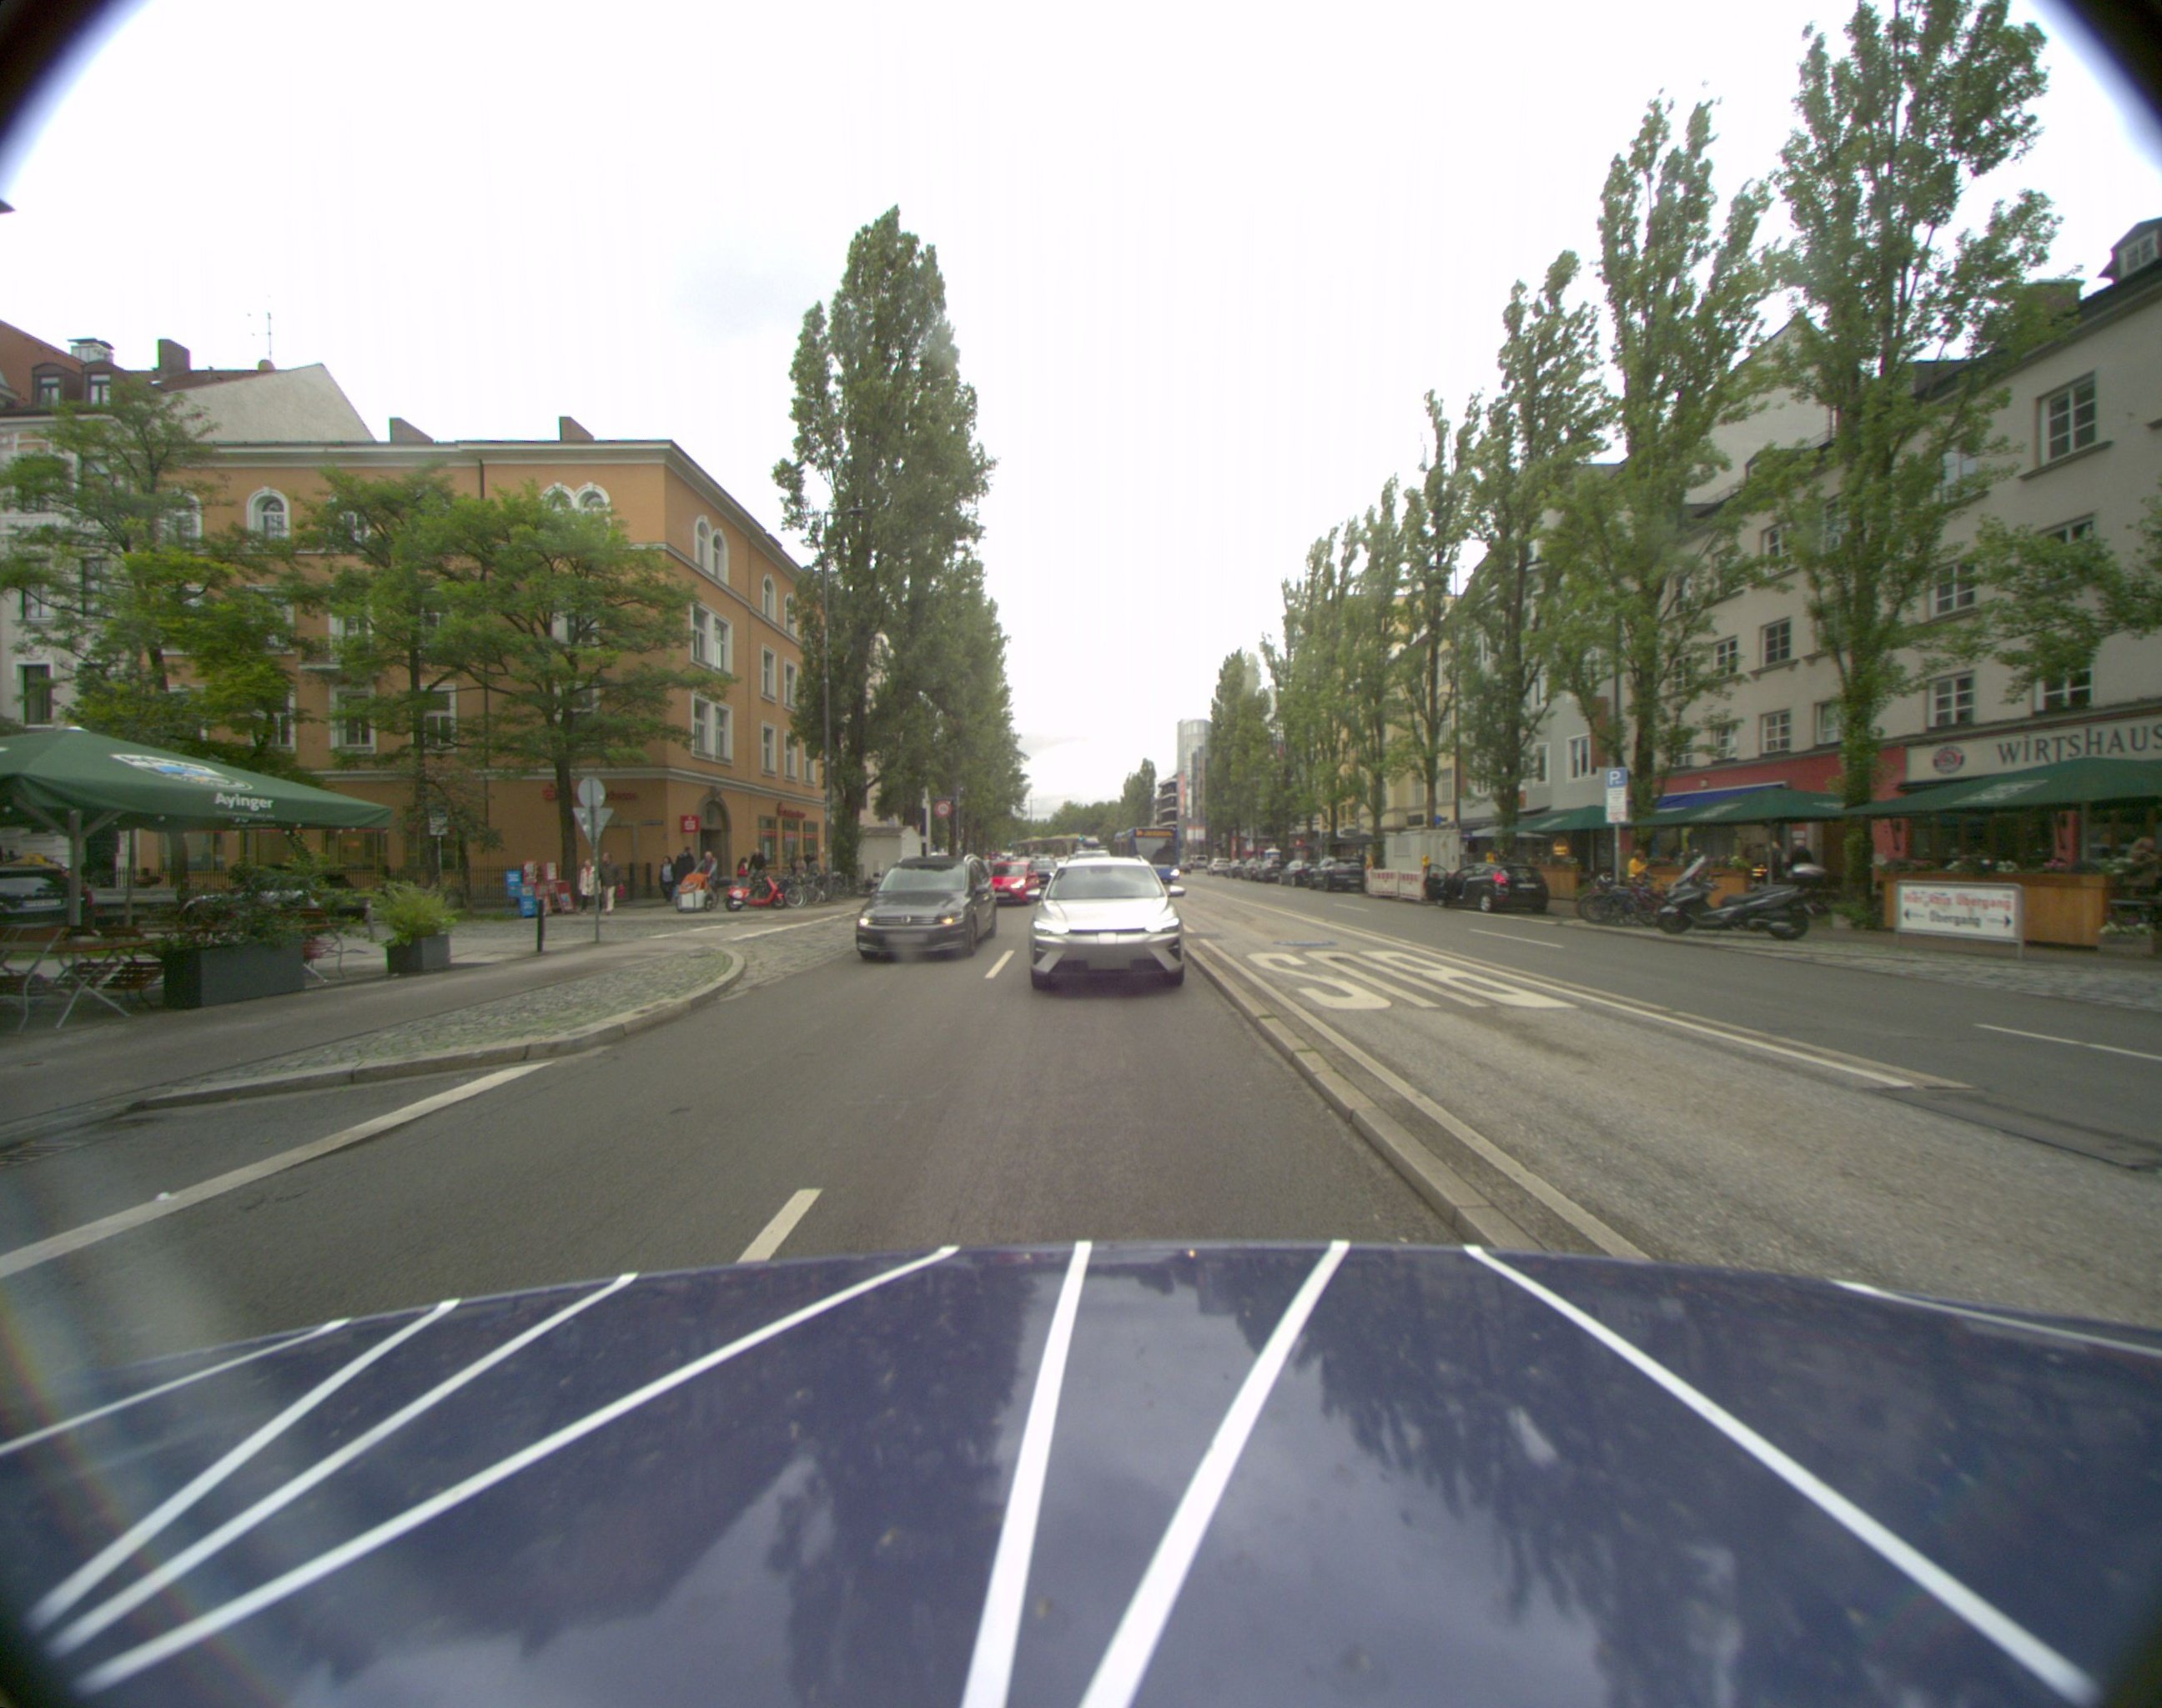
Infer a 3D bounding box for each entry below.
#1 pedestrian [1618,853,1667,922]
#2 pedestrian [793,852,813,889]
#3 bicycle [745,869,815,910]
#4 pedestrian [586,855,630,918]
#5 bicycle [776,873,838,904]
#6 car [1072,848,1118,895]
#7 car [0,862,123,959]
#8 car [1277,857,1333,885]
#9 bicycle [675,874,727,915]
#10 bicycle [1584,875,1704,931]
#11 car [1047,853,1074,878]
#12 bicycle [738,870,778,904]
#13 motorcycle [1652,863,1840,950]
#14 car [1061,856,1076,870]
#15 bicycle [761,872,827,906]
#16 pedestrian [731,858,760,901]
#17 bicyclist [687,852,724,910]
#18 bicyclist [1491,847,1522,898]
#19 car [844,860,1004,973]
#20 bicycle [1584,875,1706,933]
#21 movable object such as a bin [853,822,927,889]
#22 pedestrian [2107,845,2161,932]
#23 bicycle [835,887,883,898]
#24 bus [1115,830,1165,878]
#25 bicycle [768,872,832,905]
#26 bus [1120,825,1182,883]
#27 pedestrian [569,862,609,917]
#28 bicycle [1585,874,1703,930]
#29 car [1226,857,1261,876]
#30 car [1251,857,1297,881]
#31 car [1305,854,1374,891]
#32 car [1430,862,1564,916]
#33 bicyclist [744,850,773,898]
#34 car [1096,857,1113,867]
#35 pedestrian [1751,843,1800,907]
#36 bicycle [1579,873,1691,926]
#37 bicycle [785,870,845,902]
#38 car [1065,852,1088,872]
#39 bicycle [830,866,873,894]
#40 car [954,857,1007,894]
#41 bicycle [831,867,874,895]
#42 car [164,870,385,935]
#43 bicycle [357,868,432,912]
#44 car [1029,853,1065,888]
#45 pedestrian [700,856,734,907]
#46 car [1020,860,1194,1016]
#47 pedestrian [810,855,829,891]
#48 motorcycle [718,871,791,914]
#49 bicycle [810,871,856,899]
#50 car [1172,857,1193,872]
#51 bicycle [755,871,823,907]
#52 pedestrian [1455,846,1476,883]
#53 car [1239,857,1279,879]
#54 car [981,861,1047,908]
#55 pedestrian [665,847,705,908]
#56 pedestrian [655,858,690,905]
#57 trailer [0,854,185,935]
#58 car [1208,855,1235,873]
[{"bbox_3d":[14.179,0.833,19.206,0.699,1.716,0.732,0,1,-2],"label":"pedestrian"},{"bbox_3d":[-13.018,0.751,35.571,0.634,1.684,0.574,-2,1,-3],"label":"pedestrian"},{"bbox_3d":[-9.404,1.095,23.738,1.945,1.232,0.561,-1,1,1],"label":"bicycle"},{"bbox_3d":[-13.601,0.917,21.873,0.699,1.756,0.732,-2,1,4],"label":"pedestrian"},{"bbox_3d":[-9.503,1.190,26.380,1.945,1.004,0.561,-1,1,1],"label":"bicycle"},{"bbox_3d":[0.577,0.707,33.725,1.839,1.831,5.129,-2,1,0],"label":"car"},{"bbox_3d":[-21.469,1.111,14.372,4.425,1.692,1.972,-2,1,5],"label":"car"},{"bbox_3d":[12.243,0.900,41.827,1.802,1.432,4.574,0,0,1],"label":"car"},{"bbox_3d":[-11.423,1.198,22.911,0.887,1.113,2.100,-1,0,-12],"label":"bicycle"},{"bbox_3d":[11.734,1.005,15.898,1.976,1.119,0.283,-2,1,37],"label":"bicycle"},{"bbox_3d":[-1.512,0.817,55.691,1.707,1.683,4.001,-2,0,-5],"label":"car"},{"bbox_3d":[-11.419,1.142,26.899,0.737,1.113,2.100,-1,0,-7],"label":"bicycle"},{"bbox_3d":[11.917,0.871,13.737,0.747,1.406,2.448,0,0,-33],"label":"motorcycle"},{"bbox_3d":[-1.618,1.166,99.895,1.789,1.604,4.498,-2,0,0],"label":"car"},{"bbox_3d":[-9.457,1.159,25.032,1.945,1.082,0.561,-1,1,1],"label":"bicycle"},{"bbox_3d":[-12.654,0.963,28.655,0.745,1.562,0.614,-2,1,3],"label":"pedestrian"},{"bbox_3d":[-11.493,0.810,23.264,0.831,1.747,0.666,-1,1,-12],"label":"bicyclist"},{"bbox_3d":[14.383,0.601,25.696,0.606,1.695,0.816,-1,1,2],"label":"bicyclist"},{"bbox_3d":[-2.535,0.935,13.320,1.882,1.582,4.192,-2,0,0],"label":"car"},{"bbox_3d":[11.543,1.008,15.615,1.976,1.119,0.361,-2,1,37],"label":"bicycle"},{"bbox_3d":[-9.466,0.088,38.110,2.445,3.119,4.543,1,0,1],"label":"movable object such as a bin"},{"bbox_3d":[20.269,0.638,14.375,0.699,1.614,0.732,0,1,4],"label":"pedestrian"},{"bbox_3d":[-8.557,1.479,29.357,1.677,0.371,0.830,1,0,-7],"label":"bicycle"},{"bbox_3d":[3.872,-0.033,51.950,2.690,2.932,10.052,-1,0,0],"label":"bus"},{"bbox_3d":[-9.516,1.179,25.776,1.945,1.069,0.561,-1,1,1],"label":"bicycle"},{"bbox_3d":[3.798,-0.006,43.417,2.696,2.932,10.052,-1,0,0],"label":"bus"},{"bbox_3d":[-14.368,1.027,22.200,0.699,1.562,0.575,-2,1,3],"label":"pedestrian"},{"bbox_3d":[11.908,0.996,16.122,1.976,1.119,0.283,-2,1,37],"label":"bicycle"},{"bbox_3d":[12.624,0.943,59.371,1.802,1.432,4.574,0,0,1],"label":"car"},{"bbox_3d":[12.237,0.940,48.409,1.802,1.432,4.574,0,0,1],"label":"car"},{"bbox_3d":[12.092,0.820,35.861,1.802,1.603,4.574,0,0,1],"label":"car"},{"bbox_3d":[12.169,0.976,22.519,1.760,1.414,3.784,1,0,-2],"label":"car"},{"bbox_3d":[-11.430,0.696,26.933,0.741,1.677,0.748,-1,1,-7],"label":"bicyclist"},{"bbox_3d":[3.698,1.265,121.282,1.783,1.391,4.358,0,0,-12],"label":"car"},{"bbox_3d":[21.314,0.624,23.332,0.699,1.915,0.905,0,1,4],"label":"pedestrian"},{"bbox_3d":[12.217,0.989,16.813,1.976,1.119,0.343,-2,1,37],"label":"bicycle"},{"bbox_3d":[-9.493,1.137,27.128,1.945,1.078,0.561,-1,1,1],"label":"bicycle"},{"bbox_3d":[-0.460,0.719,68.724,1.707,1.683,4.001,-2,0,-5],"label":"car"},{"bbox_3d":[-9.194,1.045,30.434,1.610,1.078,0.321,-1,1,-22],"label":"bicycle"},{"bbox_3d":[-4.604,0.965,35.370,1.789,1.544,4.498,-2,0,0],"label":"car"},{"bbox_3d":[-9.038,1.068,30.103,1.604,1.078,0.341,-1,1,-22],"label":"bicycle"},{"bbox_3d":[-22.306,1.299,21.154,3.997,1.511,1.906,-2,1,-1],"label":"car"},{"bbox_3d":[-22.566,1.192,25.002,1.945,1.364,0.561,-2,0,2],"label":"bicycle"},{"bbox_3d":[-1.880,0.837,40.544,1.707,1.683,4.001,-2,0,-5],"label":"car"},{"bbox_3d":[-12.144,0.914,25.375,0.746,1.651,0.770,-2,1,-9],"label":"pedestrian"},{"bbox_3d":[0.269,0.883,9.866,1.742,1.510,4.033,-2,0,0],"label":"car"},{"bbox_3d":[-12.408,0.903,36.047,0.619,1.684,0.574,-2,1,-4],"label":"pedestrian"},{"bbox_3d":[-9.777,1.126,22.764,1.963,1.214,0.514,-1,1,-25],"label":"motorcycle"},{"bbox_3d":[-9.308,1.165,28.569,1.602,1.004,0.342,-1,1,-6],"label":"bicycle"},{"bbox_3d":[10.563,1.065,79.010,1.718,1.532,4.077,1,0,1],"label":"car"},{"bbox_3d":[-9.364,1.123,24.381,1.945,1.130,0.561,-1,1,1],"label":"bicycle"},{"bbox_3d":[20.494,0.544,40.468,0.699,1.915,0.905,0,1,4],"label":"pedestrian"},{"bbox_3d":[12.521,0.942,53.755,1.802,1.495,4.574,0,0,1],"label":"car"},{"bbox_3d":[-2.241,0.994,26.405,1.616,1.425,4.004,-2,0,4],"label":"car"},{"bbox_3d":[-13.048,0.754,25.051,0.840,1.937,0.801,-2,1,-4],"label":"pedestrian"},{"bbox_3d":[-13.974,0.936,25.983,0.745,1.562,0.664,-2,1,4],"label":"pedestrian"},{"bbox_3d":[-28.108,1.085,20.608,5.252,2.016,1.906,-1,0,-1],"label":"trailer"},{"bbox_3d":[12.863,0.892,69.874,1.802,1.568,4.104,0,0,1],"label":"car"}]
